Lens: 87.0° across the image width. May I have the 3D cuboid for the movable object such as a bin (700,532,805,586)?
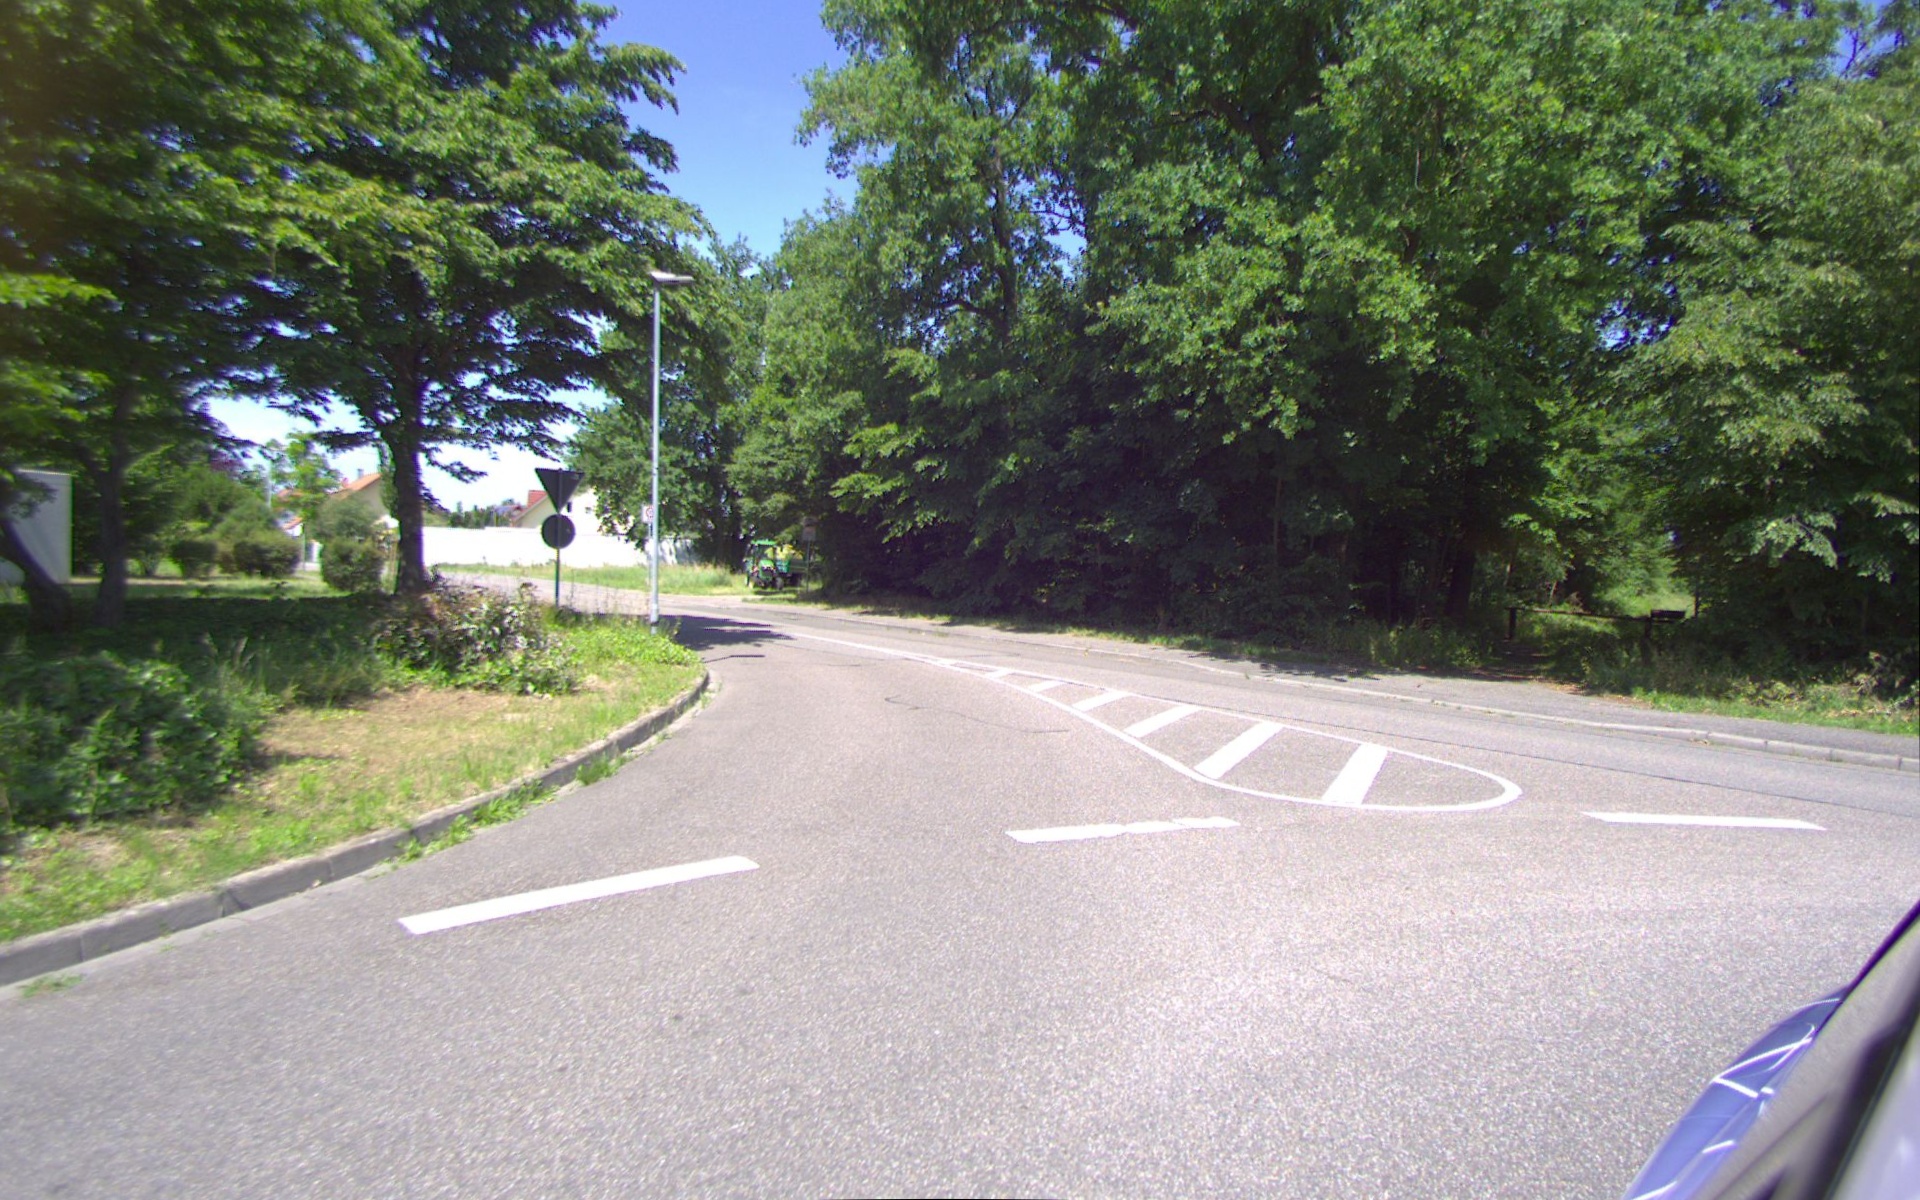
[{"bbox_3d":[-9.701,-1.911,46.961,2.480,2.304,5.232,1,3,-41],"label":"movable object such as a bin"}]
